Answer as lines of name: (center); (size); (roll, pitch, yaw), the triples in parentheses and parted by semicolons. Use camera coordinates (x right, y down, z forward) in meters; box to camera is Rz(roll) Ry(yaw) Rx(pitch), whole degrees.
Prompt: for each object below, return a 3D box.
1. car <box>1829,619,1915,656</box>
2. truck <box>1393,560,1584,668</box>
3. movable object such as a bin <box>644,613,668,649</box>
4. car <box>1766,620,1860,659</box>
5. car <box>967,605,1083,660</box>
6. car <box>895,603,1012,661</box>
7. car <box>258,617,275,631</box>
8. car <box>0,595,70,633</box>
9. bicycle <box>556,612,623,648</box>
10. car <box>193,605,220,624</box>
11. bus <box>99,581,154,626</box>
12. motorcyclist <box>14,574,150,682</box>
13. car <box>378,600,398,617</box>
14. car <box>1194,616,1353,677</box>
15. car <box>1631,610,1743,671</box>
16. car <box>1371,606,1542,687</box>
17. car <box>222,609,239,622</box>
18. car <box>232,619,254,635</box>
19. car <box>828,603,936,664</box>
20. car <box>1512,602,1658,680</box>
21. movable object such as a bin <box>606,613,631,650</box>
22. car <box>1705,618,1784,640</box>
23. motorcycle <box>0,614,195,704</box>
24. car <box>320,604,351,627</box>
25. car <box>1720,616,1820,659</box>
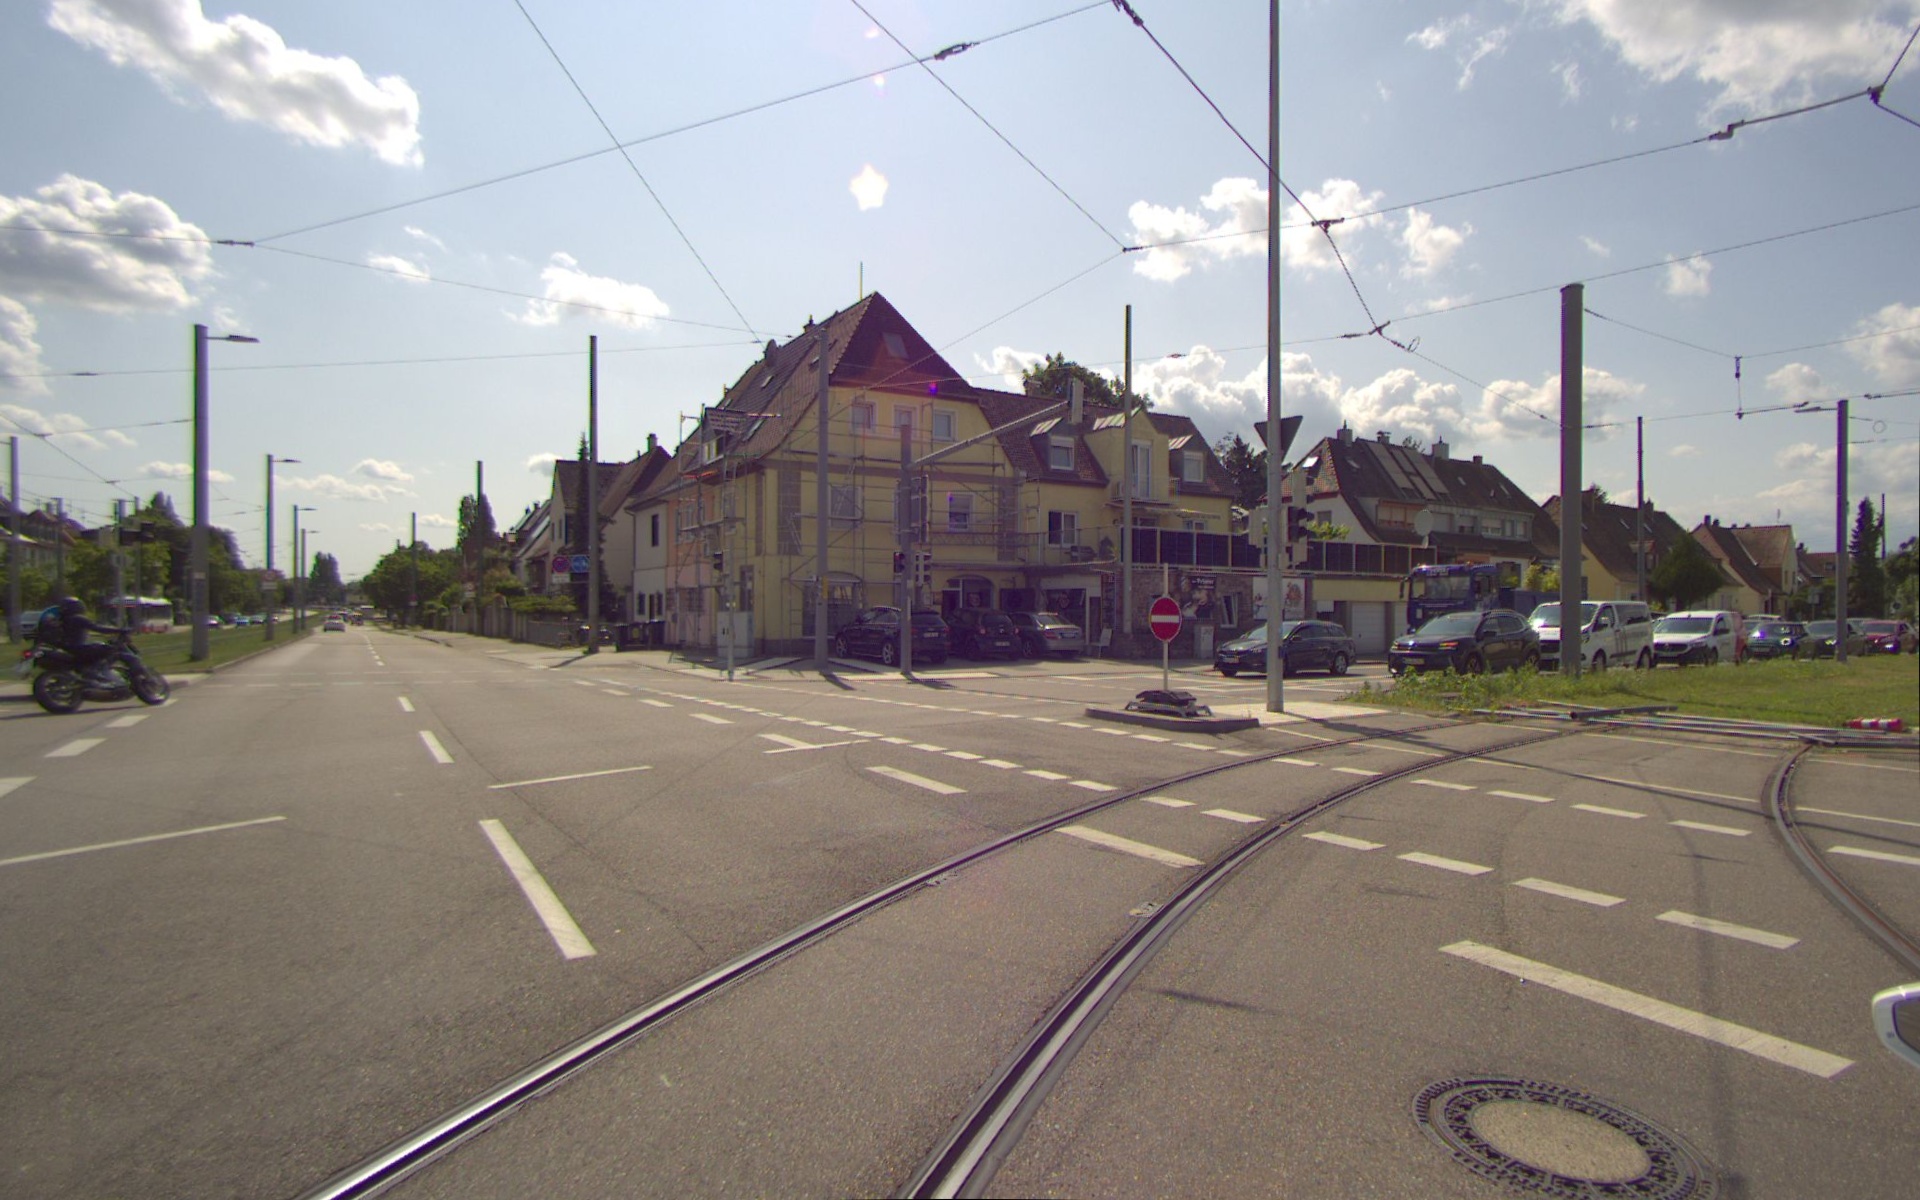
car: (39.674, 1.606, 43.649); (4.809, 1.513, 1.831); (1, -1, -36)
truck: (17.813, 0.500, 33.646); (7.513, 3.230, 2.748); (1, -1, -37)
movable object such as a bin: (-10.957, 1.110, 36.239); (0.674, 1.277, 0.678); (0, 1, -32)
car: (33.851, 1.527, 39.814); (4.871, 1.432, 1.830); (1, -1, -37)
car: (2.039, 1.007, 32.512); (1.421, 1.513, 4.105); (1, 1, -36)
car: (-0.278, 0.944, 31.164); (1.493, 1.513, 4.105); (1, 1, -36)
car: (-104.949, 3.587, 152.051); (1.978, 2.040, 3.965); (0, 0, -32)
car: (-51.004, 0.752, 55.286); (1.974, 2.040, 3.973); (0, 0, -26)
bicycle: (-14.846, 1.188, 40.250); (2.427, 1.374, 0.770); (1, 1, -28)
car: (-80.958, 1.555, 107.944); (1.979, 2.040, 3.963); (1, 0, -33)
bus: (-74.854, 0.319, 90.392); (2.375, 3.827, 11.912); (1, 0, -33)
motorcyclist: (-12.154, 0.368, 13.944); (0.809, 1.417, 1.100); (-1, 2, 8)
car: (-72.323, 1.122, 126.967); (1.974, 2.040, 3.974); (0, -1, -26)
car: (8.427, 1.208, 26.873); (4.289, 1.507, 1.816); (1, -1, -34)
car: (23.267, 1.255, 32.102); (4.364, 1.806, 1.720); (1, -1, -37)
car: (11.756, 1.027, 23.684); (4.397, 1.743, 1.774); (0, 0, -36)
car: (-116.587, 2.496, 160.575); (1.980, 2.040, 3.962); (1, 0, -34)
car: (-94.916, 3.553, 132.991); (1.976, 2.040, 3.970); (0, 0, -29)
car: (-2.370, 0.927, 29.466); (1.168, 1.513, 4.105); (1, 1, -36)
car: (17.026, 1.067, 27.275); (4.704, 1.947, 1.801); (1, -1, -37)
movable object such as a bin: (-12.097, 1.097, 35.574); (0.674, 1.277, 0.678); (0, 1, -32)
car: (56.278, 2.043, 72.093); (1.971, 1.486, 4.080); (1, -1, -35)
motorcycle: (-12.162, 0.768, 14.097); (0.827, 1.143, 2.360); (0, -1, 8)
car: (-56.734, 1.395, 91.270); (1.974, 2.040, 3.973); (0, 0, -26)
car: (29.004, 1.326, 35.936); (3.963, 1.437, 1.901); (1, -1, -37)
